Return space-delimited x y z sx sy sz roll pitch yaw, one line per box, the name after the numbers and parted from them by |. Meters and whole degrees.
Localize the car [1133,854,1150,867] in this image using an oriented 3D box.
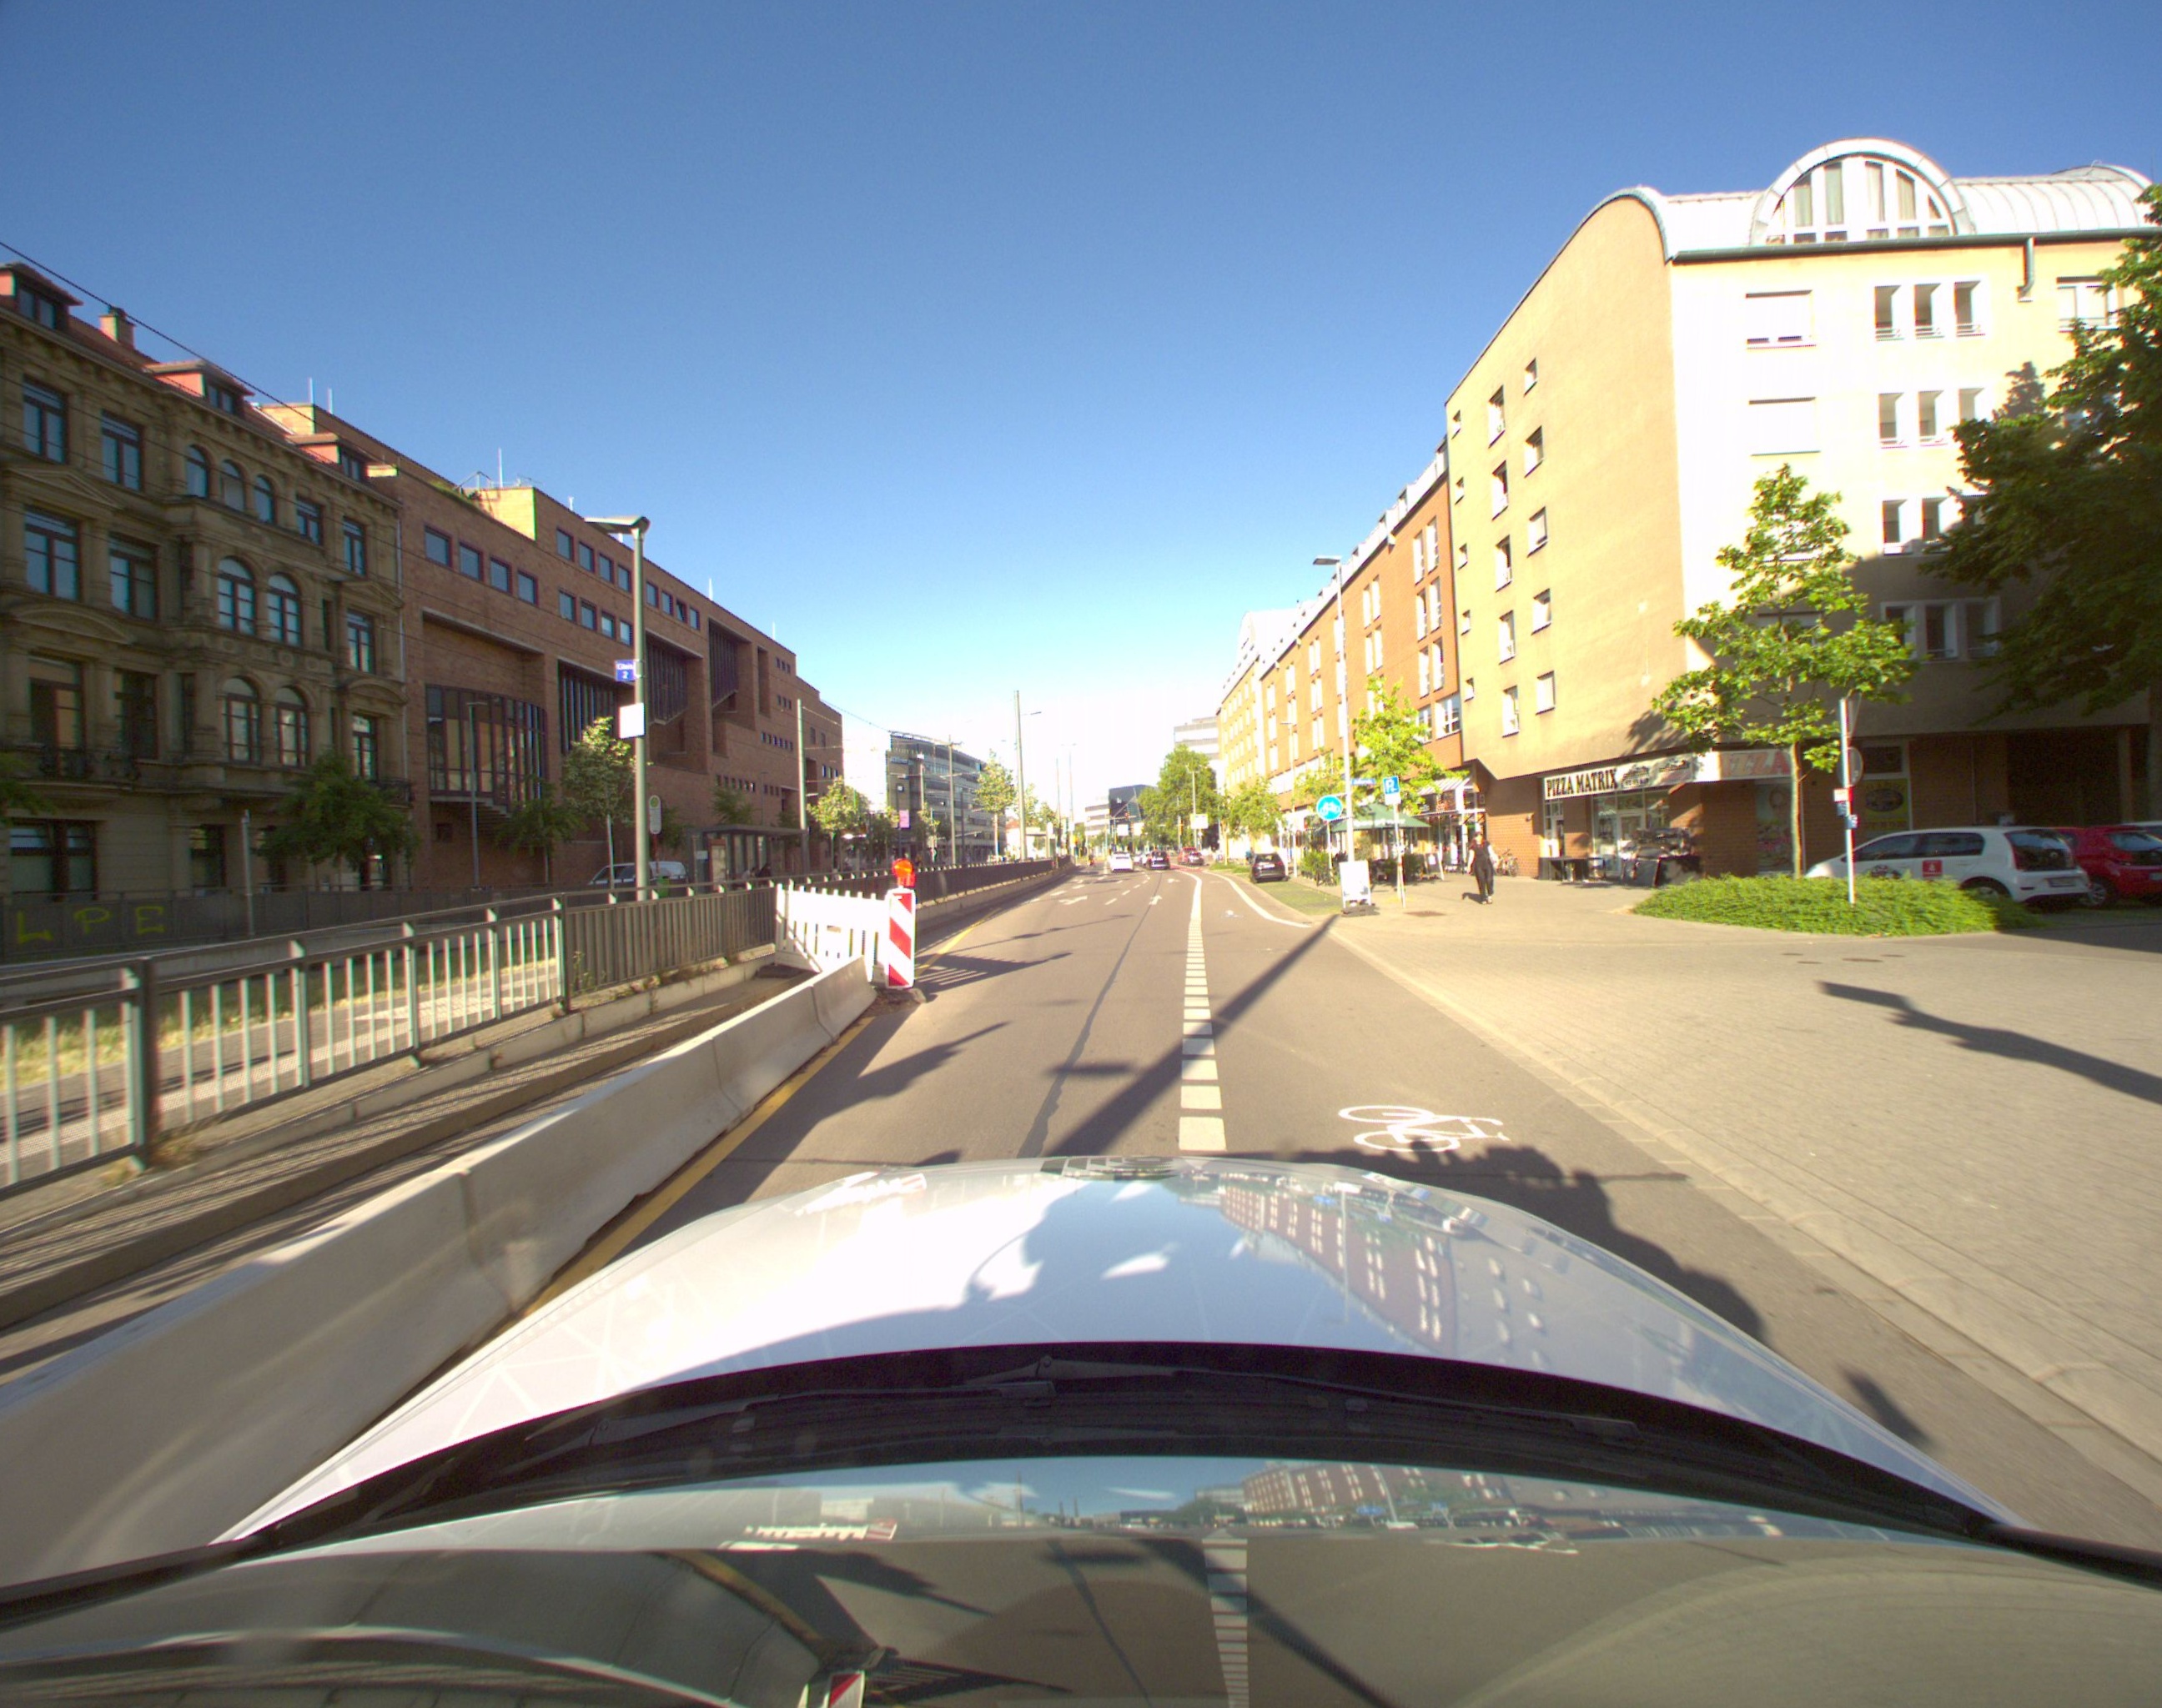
7.256 0.789 97.766 1.844 1.497 4.380 -1 0 2 | car

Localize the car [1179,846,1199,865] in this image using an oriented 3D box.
12.139 0.137 91.606 1.853 1.961 4.003 -2 0 3 | car

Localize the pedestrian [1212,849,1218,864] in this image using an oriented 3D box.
16.870 0.294 102.833 0.604 1.821 0.748 -2 -1 1 | pedestrian

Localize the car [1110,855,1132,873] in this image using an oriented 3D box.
3.271 0.775 67.473 1.774 1.414 4.820 0 0 2 | car

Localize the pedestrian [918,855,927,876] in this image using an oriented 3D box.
-13.259 0.985 68.296 0.579 1.738 0.616 -1 0 2 | pedestrian

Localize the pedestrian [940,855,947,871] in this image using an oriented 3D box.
-14.035 0.879 82.978 0.561 1.609 0.616 -1 0 2 | pedestrian

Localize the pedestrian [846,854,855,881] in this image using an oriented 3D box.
-14.030 0.824 49.644 0.376 1.621 0.553 0 0 2 | pedestrian

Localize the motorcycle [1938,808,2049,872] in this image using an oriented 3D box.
24.213 -0.373 21.622 2.252 1.607 0.652 -2 0 -2 | motorcycle

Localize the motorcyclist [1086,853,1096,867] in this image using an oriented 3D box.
1.151 0.716 93.247 1.015 1.603 1.149 0 0 2 | motorcyclist

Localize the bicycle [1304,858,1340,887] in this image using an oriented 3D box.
10.032 0.787 33.969 0.763 1.081 1.996 -7 -1 -2 | bicycle

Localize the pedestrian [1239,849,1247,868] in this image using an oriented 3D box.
16.393 0.438 82.186 0.604 1.821 0.748 -2 -1 1 | pedestrian

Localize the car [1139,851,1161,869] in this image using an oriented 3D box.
6.821 0.558 80.422 1.844 1.639 4.380 -2 0 1 | car

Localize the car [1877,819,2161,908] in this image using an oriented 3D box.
17.553 0.153 15.199 1.631 1.453 3.646 0 0 -8 | car

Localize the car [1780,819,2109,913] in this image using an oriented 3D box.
15.320 0.186 14.773 1.662 1.474 3.823 0 0 -10 | car

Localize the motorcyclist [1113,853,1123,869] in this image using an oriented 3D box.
3.468 0.685 76.247 0.834 1.475 1.236 -2 0 0 | motorcyclist

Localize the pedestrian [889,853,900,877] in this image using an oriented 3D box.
-13.910 0.814 60.691 0.620 1.714 0.616 -1 0 2 | pedestrian

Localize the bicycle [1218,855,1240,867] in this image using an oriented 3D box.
14.103 0.676 77.466 1.931 1.074 0.628 -3 -1 13 | bicycle

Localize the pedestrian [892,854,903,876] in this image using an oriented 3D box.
-13.834 0.845 61.427 0.620 1.612 0.616 -1 0 2 | pedestrian

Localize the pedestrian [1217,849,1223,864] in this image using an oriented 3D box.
17.048 0.291 99.803 0.604 1.821 0.748 -2 -1 1 | pedestrian

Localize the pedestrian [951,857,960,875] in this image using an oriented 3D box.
-11.632 1.069 75.488 0.638 1.643 0.946 0 0 2 | pedestrian

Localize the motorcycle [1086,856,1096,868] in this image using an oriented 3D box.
1.157 0.891 93.226 1.015 1.312 2.916 0 0 2 | motorcycle

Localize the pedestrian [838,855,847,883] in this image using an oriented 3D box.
-13.772 0.861 46.985 0.376 1.648 0.416 0 0 2 | pedestrian

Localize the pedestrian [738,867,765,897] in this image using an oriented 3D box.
-13.738 1.176 33.975 0.718 1.168 0.722 -4 0 1 | pedestrian

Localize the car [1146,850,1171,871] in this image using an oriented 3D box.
6.935 0.573 72.926 1.967 1.759 4.635 0 0 2 | car

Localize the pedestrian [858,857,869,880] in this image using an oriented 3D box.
-13.964 0.909 52.345 0.537 1.459 0.642 0 0 2 | pedestrian

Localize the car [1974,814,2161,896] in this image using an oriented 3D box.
19.932 0.014 15.521 1.629 1.455 3.728 0 0 -5 | car

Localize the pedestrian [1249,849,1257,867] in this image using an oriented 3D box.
17.478 0.408 82.773 0.604 1.821 0.748 -2 -1 1 | pedestrian

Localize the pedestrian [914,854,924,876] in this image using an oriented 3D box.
-12.636 0.848 63.473 0.638 1.696 0.541 0 0 2 | pedestrian

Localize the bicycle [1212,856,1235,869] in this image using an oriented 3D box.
13.056 0.761 74.581 1.932 1.075 0.556 -3 -1 12 | bicycle

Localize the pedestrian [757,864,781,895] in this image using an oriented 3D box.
-13.791 1.105 36.017 0.643 1.309 0.722 -4 -1 1 | pedestrian

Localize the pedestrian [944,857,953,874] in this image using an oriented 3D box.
-12.279 1.053 75.516 0.638 1.608 0.946 0 0 2 | pedestrian

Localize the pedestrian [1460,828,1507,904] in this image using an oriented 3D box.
9.751 0.286 19.780 0.876 1.763 1.112 -4 -2 24 | pedestrian

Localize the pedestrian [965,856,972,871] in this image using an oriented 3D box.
-13.117 1.093 95.035 0.611 1.817 0.897 -1 0 2 | pedestrian

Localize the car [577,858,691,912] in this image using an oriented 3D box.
-17.457 1.140 32.099 1.988 1.880 4.580 -2 0 -2 | car

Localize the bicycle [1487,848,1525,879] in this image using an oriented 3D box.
16.941 0.376 32.518 0.612 1.169 1.536 -4 0 -2 | bicycle

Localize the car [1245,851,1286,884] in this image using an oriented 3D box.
9.897 0.690 43.910 1.711 1.636 4.240 -3 0 8 | car

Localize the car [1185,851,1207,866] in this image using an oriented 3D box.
12.009 0.444 85.288 1.839 1.560 4.635 0 0 2 | car

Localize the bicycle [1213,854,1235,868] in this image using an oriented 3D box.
13.172 0.653 75.101 1.932 1.137 0.492 -3 -1 12 | bicycle
